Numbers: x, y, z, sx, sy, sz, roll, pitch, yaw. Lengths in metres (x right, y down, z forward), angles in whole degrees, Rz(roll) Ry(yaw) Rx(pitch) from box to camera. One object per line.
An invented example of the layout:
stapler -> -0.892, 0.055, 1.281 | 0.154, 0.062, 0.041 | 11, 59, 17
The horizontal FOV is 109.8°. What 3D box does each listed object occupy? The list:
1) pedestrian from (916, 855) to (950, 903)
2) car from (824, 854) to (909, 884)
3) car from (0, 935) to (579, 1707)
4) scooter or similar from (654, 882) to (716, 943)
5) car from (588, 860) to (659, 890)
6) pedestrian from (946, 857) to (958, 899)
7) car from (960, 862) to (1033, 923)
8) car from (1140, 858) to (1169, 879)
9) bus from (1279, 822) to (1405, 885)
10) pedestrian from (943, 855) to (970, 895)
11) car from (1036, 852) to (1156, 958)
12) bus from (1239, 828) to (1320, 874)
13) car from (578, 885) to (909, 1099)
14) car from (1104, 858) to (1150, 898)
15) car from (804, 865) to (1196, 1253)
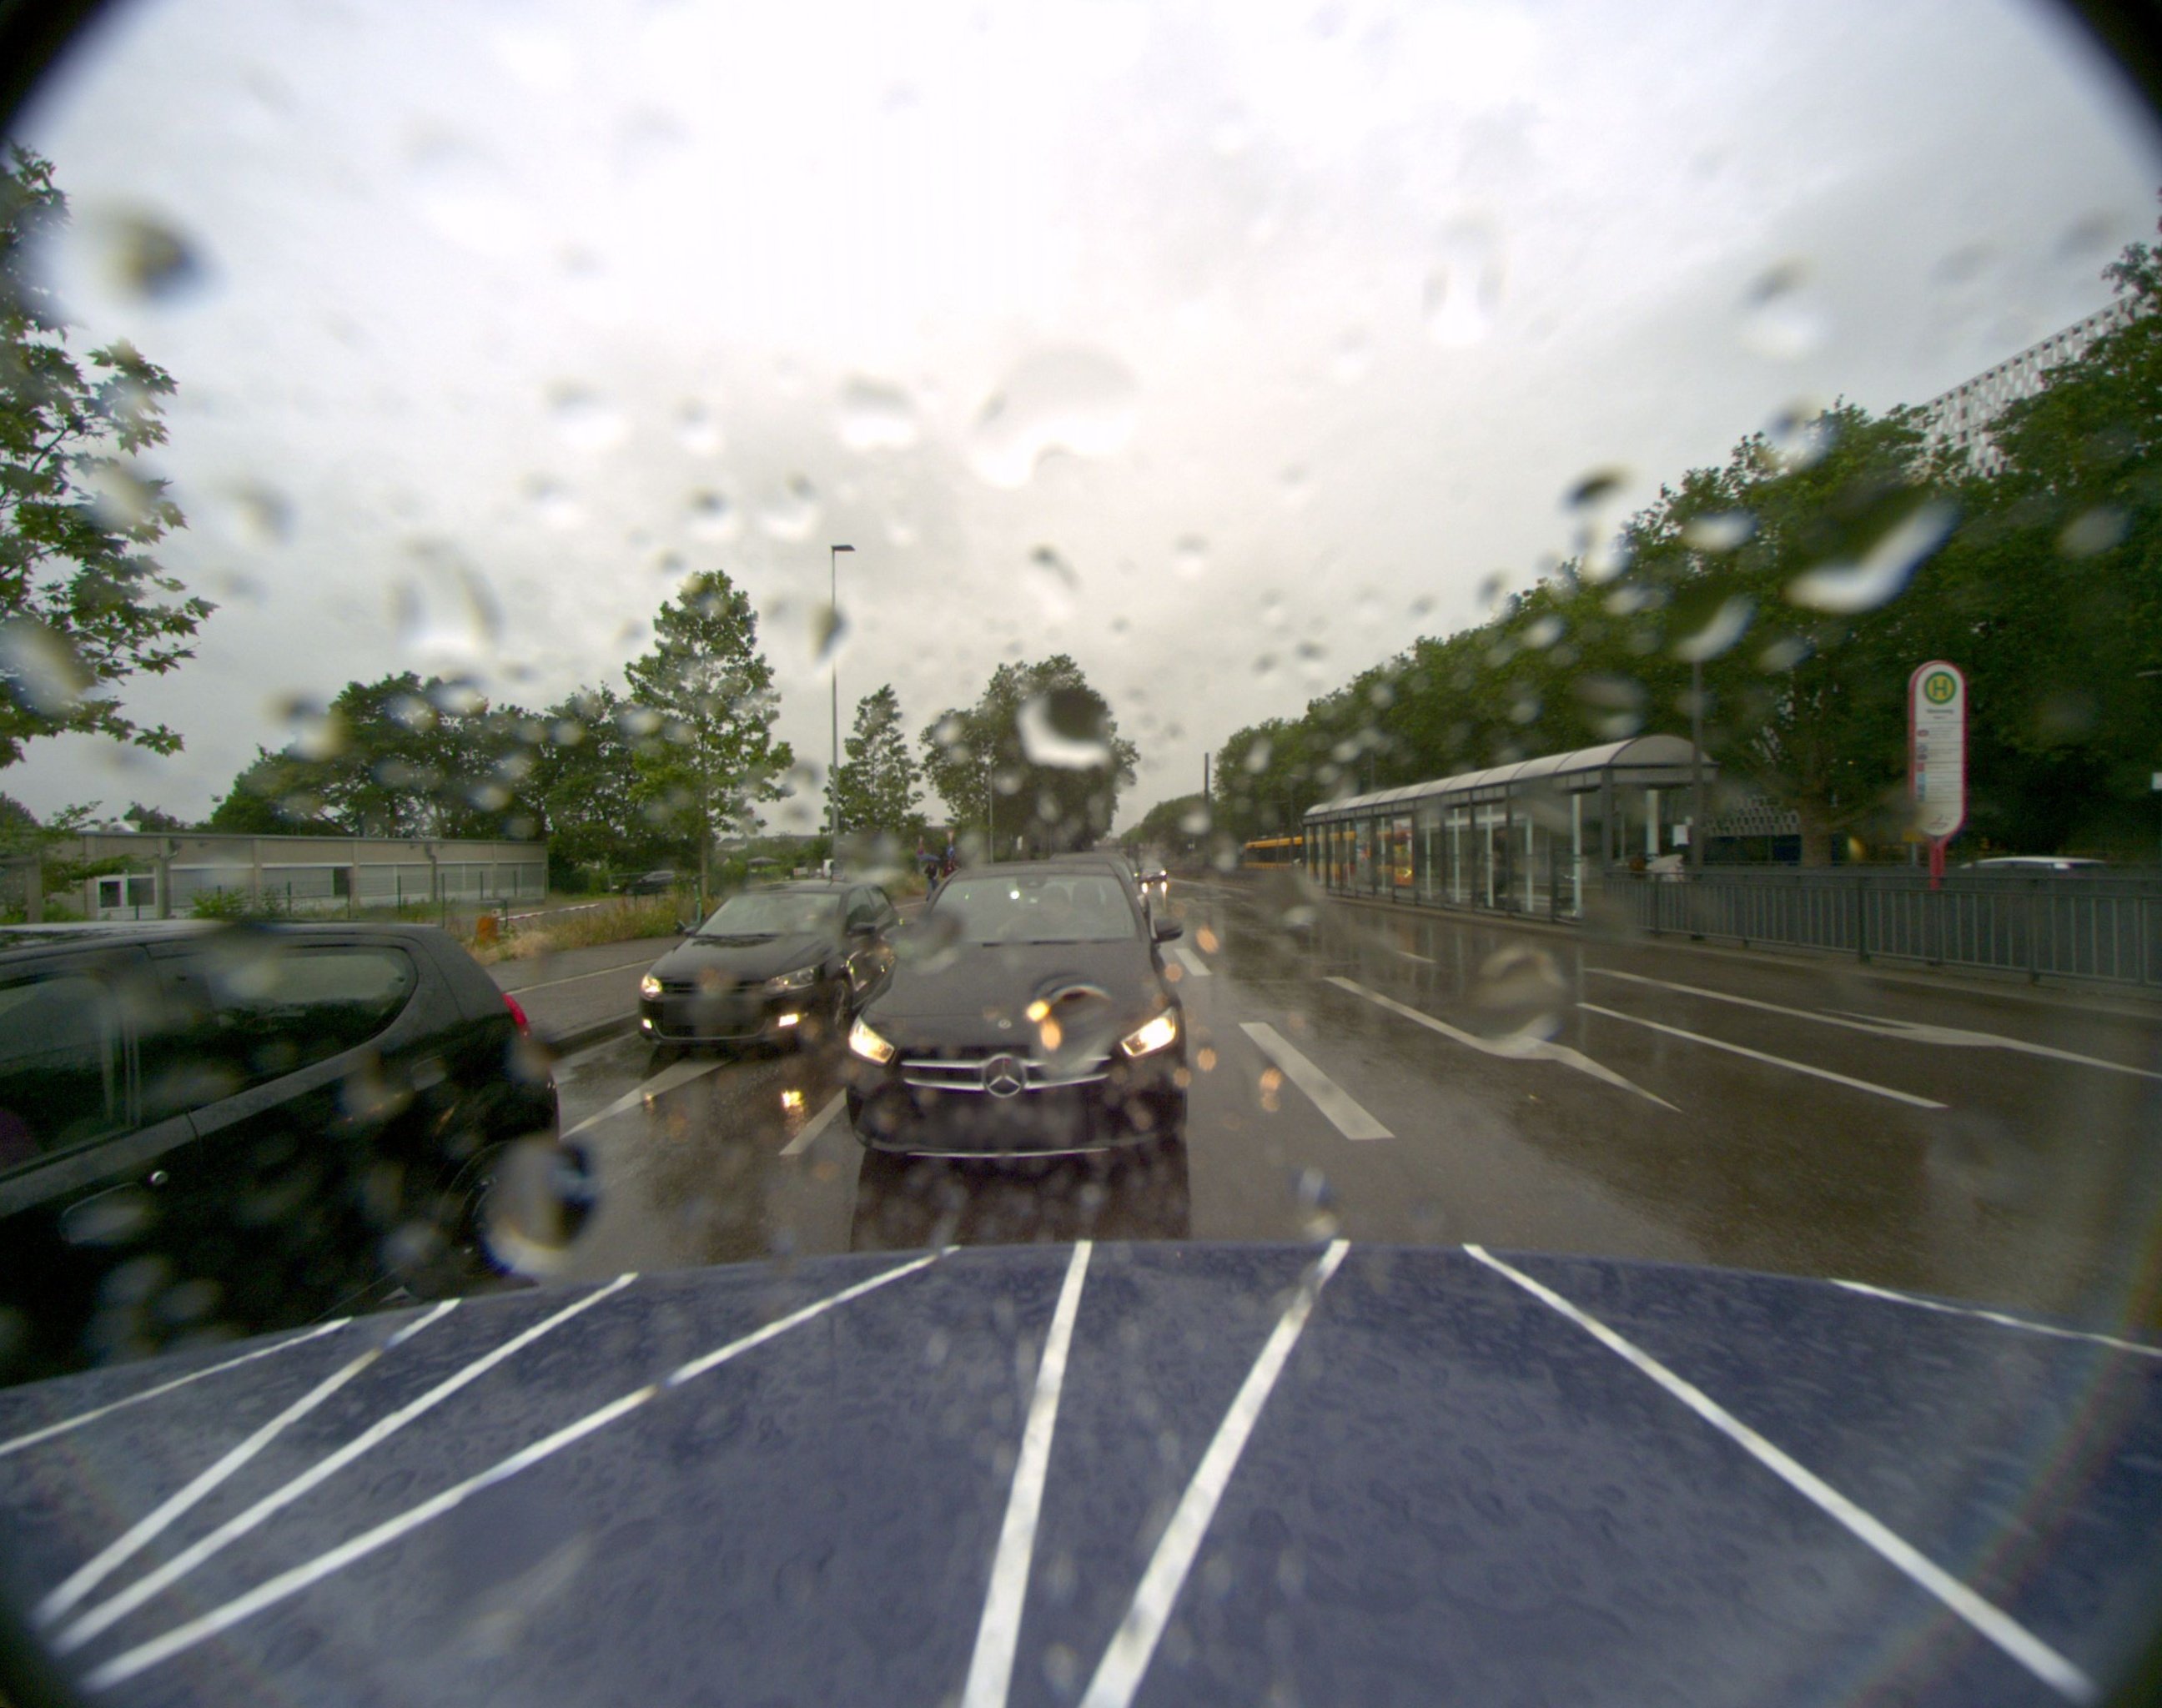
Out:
pedestrian -> -5.507, 0.905, 28.321 | 1.082, 1.746, 0.969 | 0, 1, 0
car -> -13.495, 0.916, 47.994 | 4.759, 1.640, 1.999 | -2, 1, -2
car -> -2.999, 1.081, 1.451 | 1.633, 1.420, 3.624 | -2, 0, 0
scooter or similar -> -8.210, 1.183, 15.812 | 0.381, 1.123, 1.777 | 0, 1, -1
car -> -33.963, 1.515, 56.522 | 3.996, 2.002, 2.000 | -2, 1, 2
pedestrian -> -5.136, 0.954, 30.207 | 0.401, 1.652, 0.441 | 1, 1, 0
car -> -2.502, 1.110, 23.284 | 1.698, 1.565, 3.813 | -2, 1, 1
car -> 5.360, 1.047, 55.826 | 1.766, 1.390, 4.645 | -2, 0, 2
bus -> 16.079, -0.131, 48.592 | 2.938, 3.310, 15.061 | -2, 1, 1
pedestrian -> -5.468, 0.906, 33.506 | 1.025, 1.698, 0.891 | 1, 1, 0
car -> 0.204, 0.724, 12.484 | 1.633, 1.420, 3.624 | -2, 0, 0
bus -> 16.281, -0.335, 63.749 | 2.938, 3.310, 15.062 | -2, 1, 1
car -> -2.950, 1.114, 7.539 | 1.633, 1.420, 3.624 | -2, 0, 0
car -> 2.069, 1.036, 34.845 | 1.794, 1.597, 3.999 | -2, 1, 0
car -> -0.332, 0.950, 5.471 | 1.690, 1.578, 4.163 | -2, 1, 1
